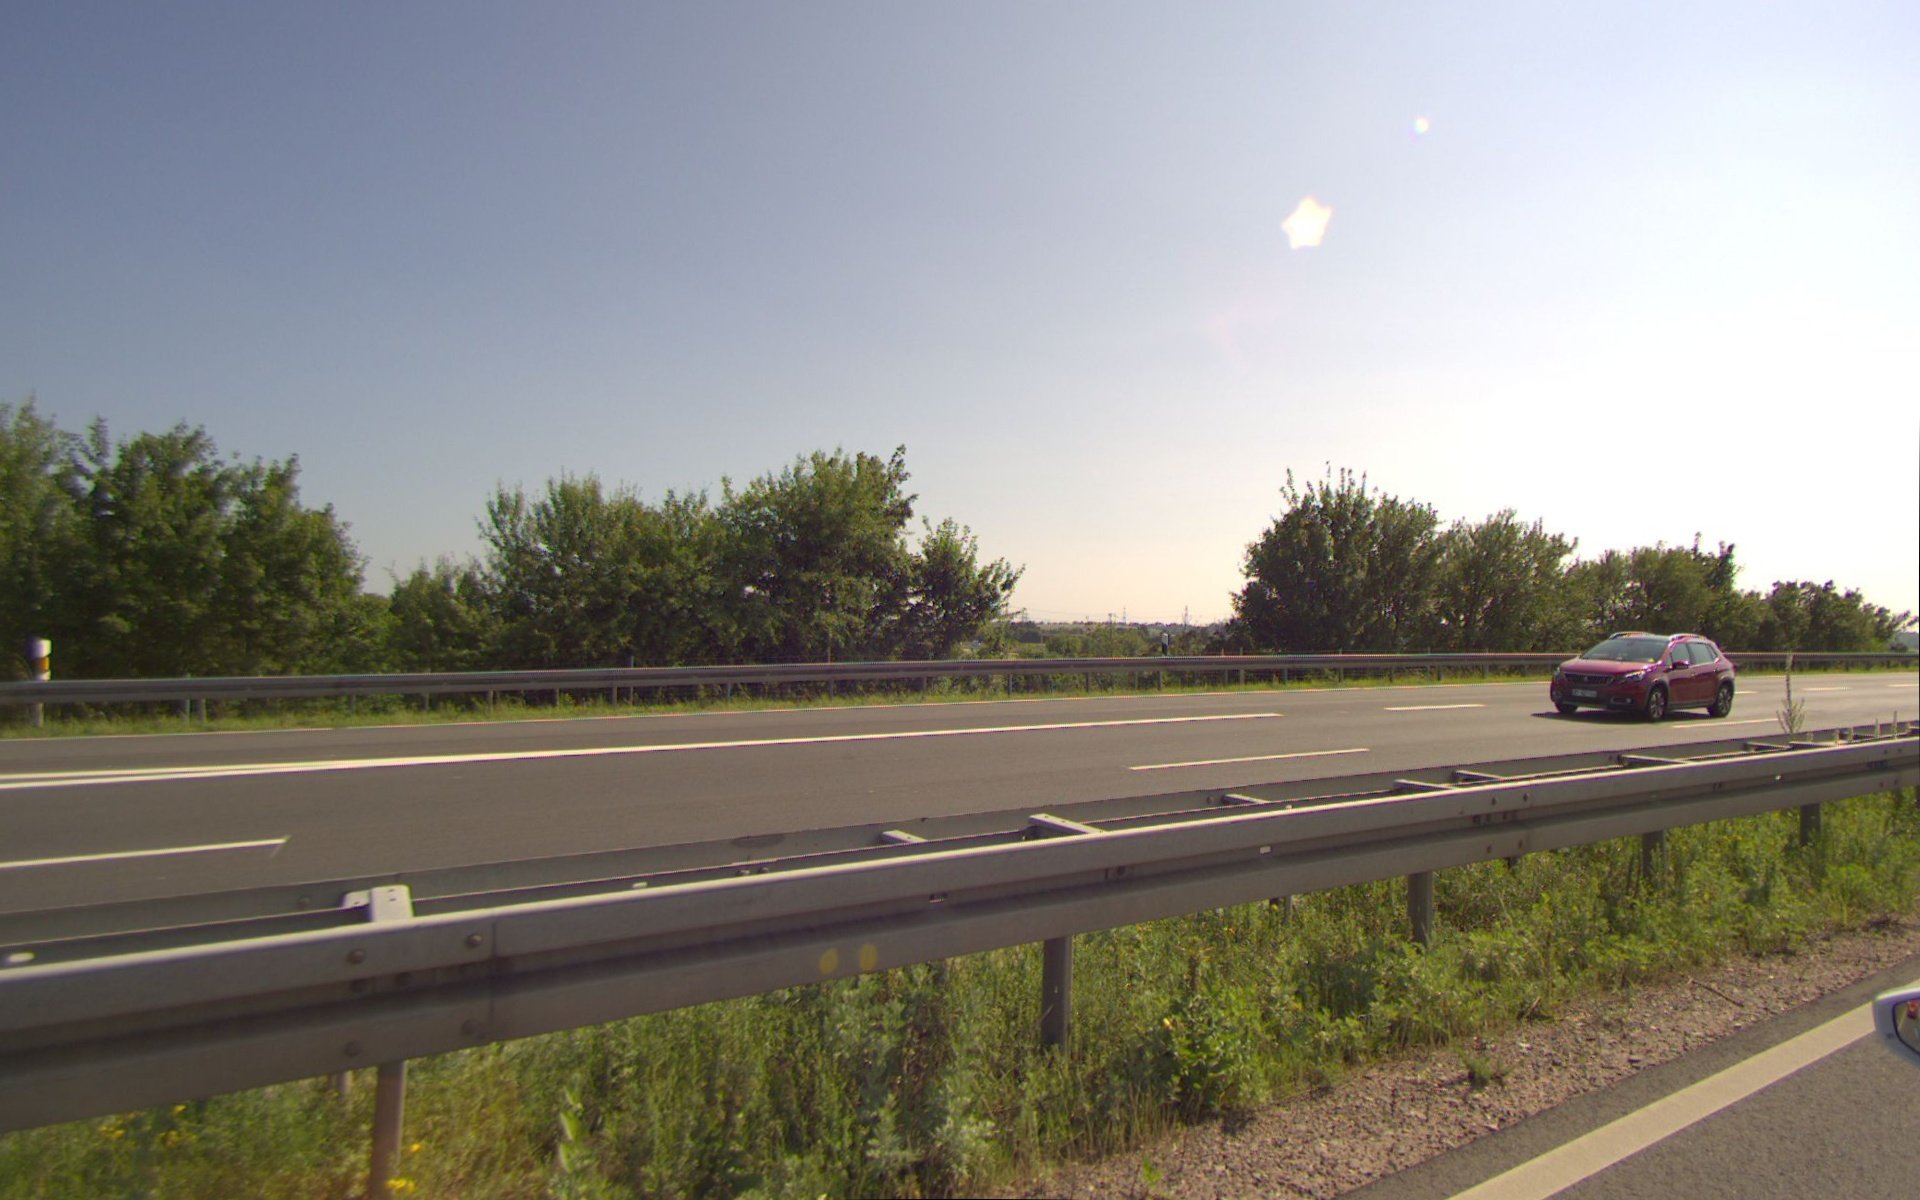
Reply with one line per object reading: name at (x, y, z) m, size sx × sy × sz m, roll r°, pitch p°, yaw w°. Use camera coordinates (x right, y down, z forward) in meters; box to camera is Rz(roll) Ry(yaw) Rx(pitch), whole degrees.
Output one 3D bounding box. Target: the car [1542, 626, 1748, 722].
car at (13.092, 1.347, 19.133) m, size 4.216 × 1.596 × 1.634 m, roll 2°, pitch 0°, yaw -32°
